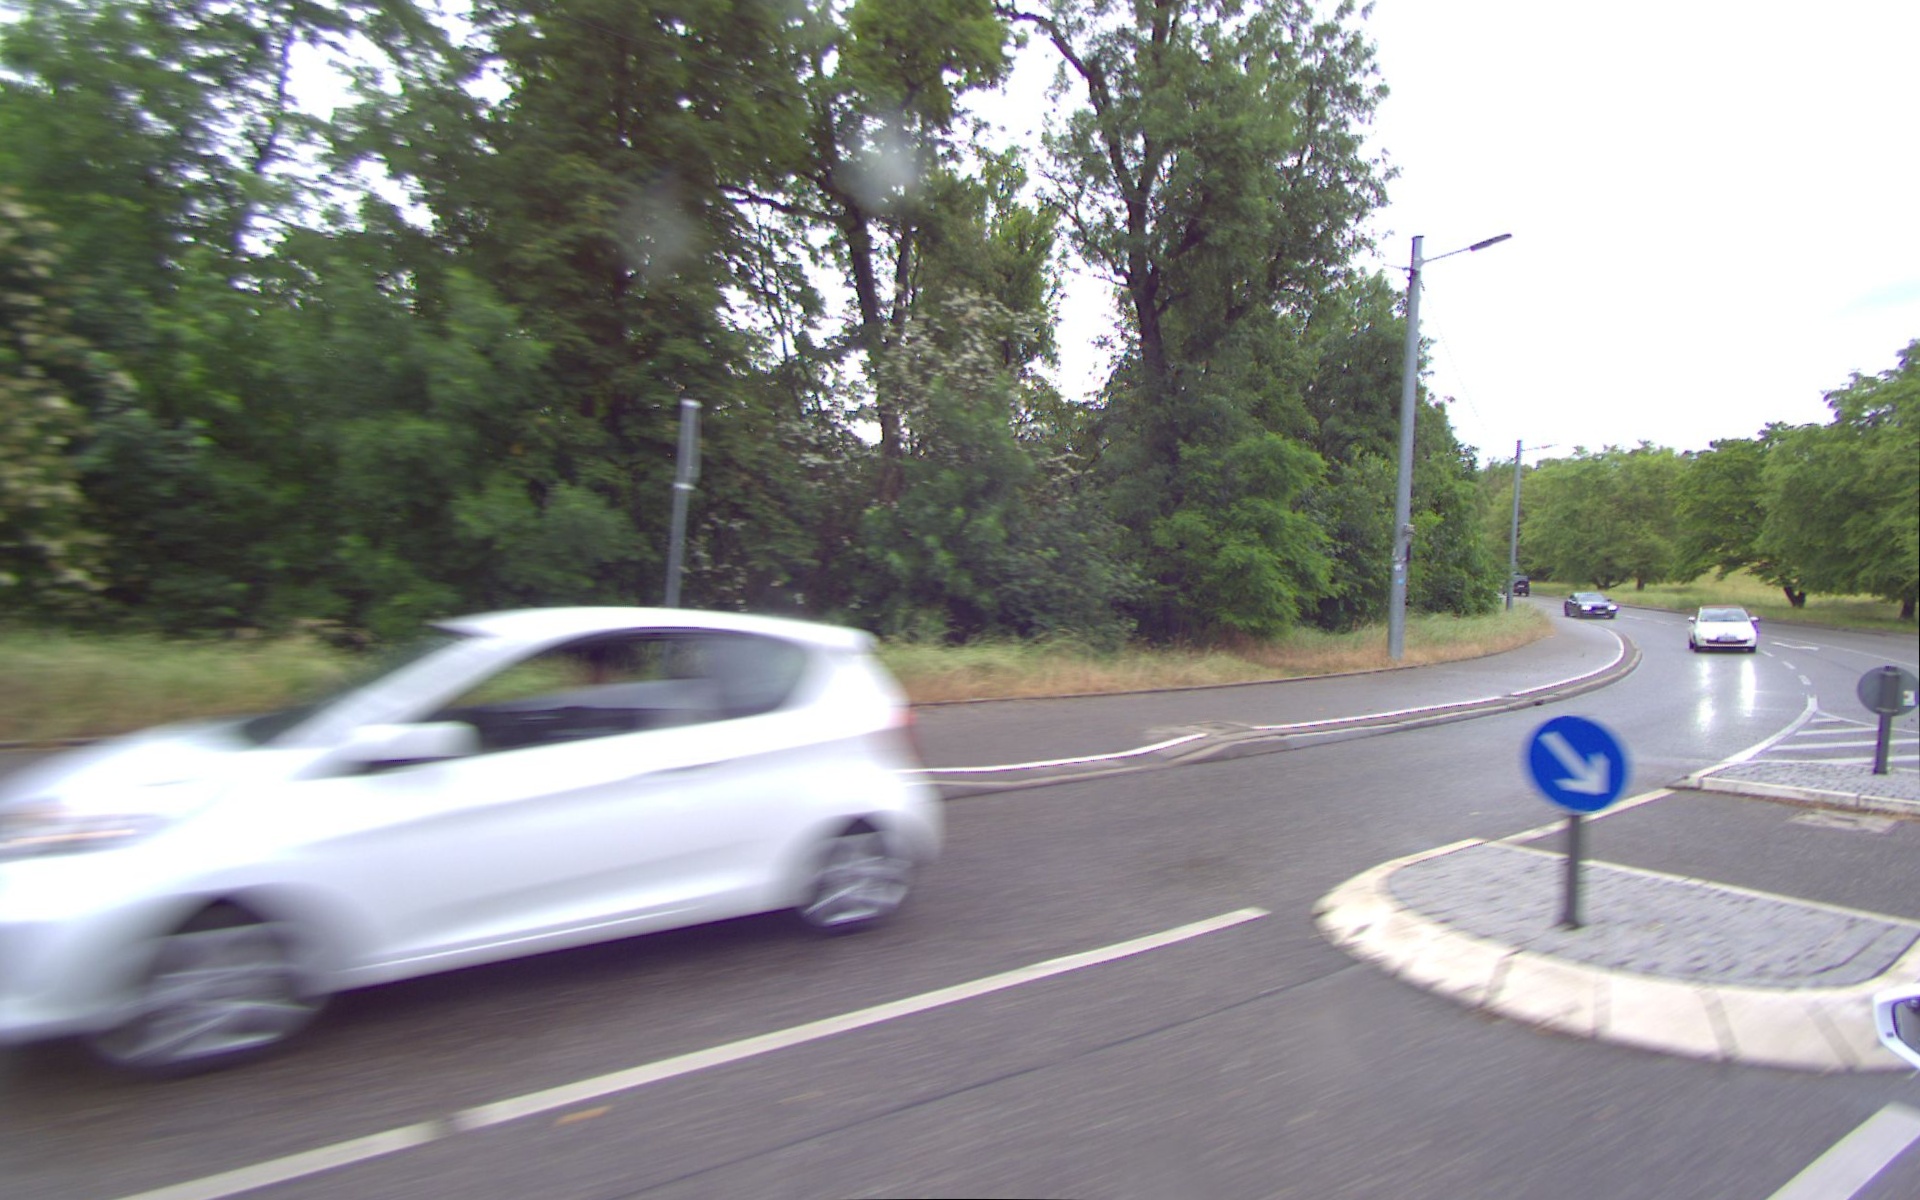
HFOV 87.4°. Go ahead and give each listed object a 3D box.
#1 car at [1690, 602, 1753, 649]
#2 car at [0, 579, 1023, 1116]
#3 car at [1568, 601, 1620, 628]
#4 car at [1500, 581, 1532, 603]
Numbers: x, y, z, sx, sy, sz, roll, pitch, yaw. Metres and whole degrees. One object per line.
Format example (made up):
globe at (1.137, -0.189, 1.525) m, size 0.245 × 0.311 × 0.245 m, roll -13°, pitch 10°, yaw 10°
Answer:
car at (25.500, 0.830, 33.714) m, size 1.545 × 1.497 × 3.655 m, roll 0°, pitch -1°, yaw 35°
car at (-1.669, 0.723, 4.577) m, size 3.769 × 1.473 × 1.619 m, roll 2°, pitch 0°, yaw -39°
car at (37.773, 0.876, 59.919) m, size 1.817 × 1.521 × 4.629 m, roll -1°, pitch -1°, yaw 22°
car at (51.357, -0.758, 92.830) m, size 1.712 × 1.740 × 4.000 m, roll 3°, pitch 4°, yaw 18°
